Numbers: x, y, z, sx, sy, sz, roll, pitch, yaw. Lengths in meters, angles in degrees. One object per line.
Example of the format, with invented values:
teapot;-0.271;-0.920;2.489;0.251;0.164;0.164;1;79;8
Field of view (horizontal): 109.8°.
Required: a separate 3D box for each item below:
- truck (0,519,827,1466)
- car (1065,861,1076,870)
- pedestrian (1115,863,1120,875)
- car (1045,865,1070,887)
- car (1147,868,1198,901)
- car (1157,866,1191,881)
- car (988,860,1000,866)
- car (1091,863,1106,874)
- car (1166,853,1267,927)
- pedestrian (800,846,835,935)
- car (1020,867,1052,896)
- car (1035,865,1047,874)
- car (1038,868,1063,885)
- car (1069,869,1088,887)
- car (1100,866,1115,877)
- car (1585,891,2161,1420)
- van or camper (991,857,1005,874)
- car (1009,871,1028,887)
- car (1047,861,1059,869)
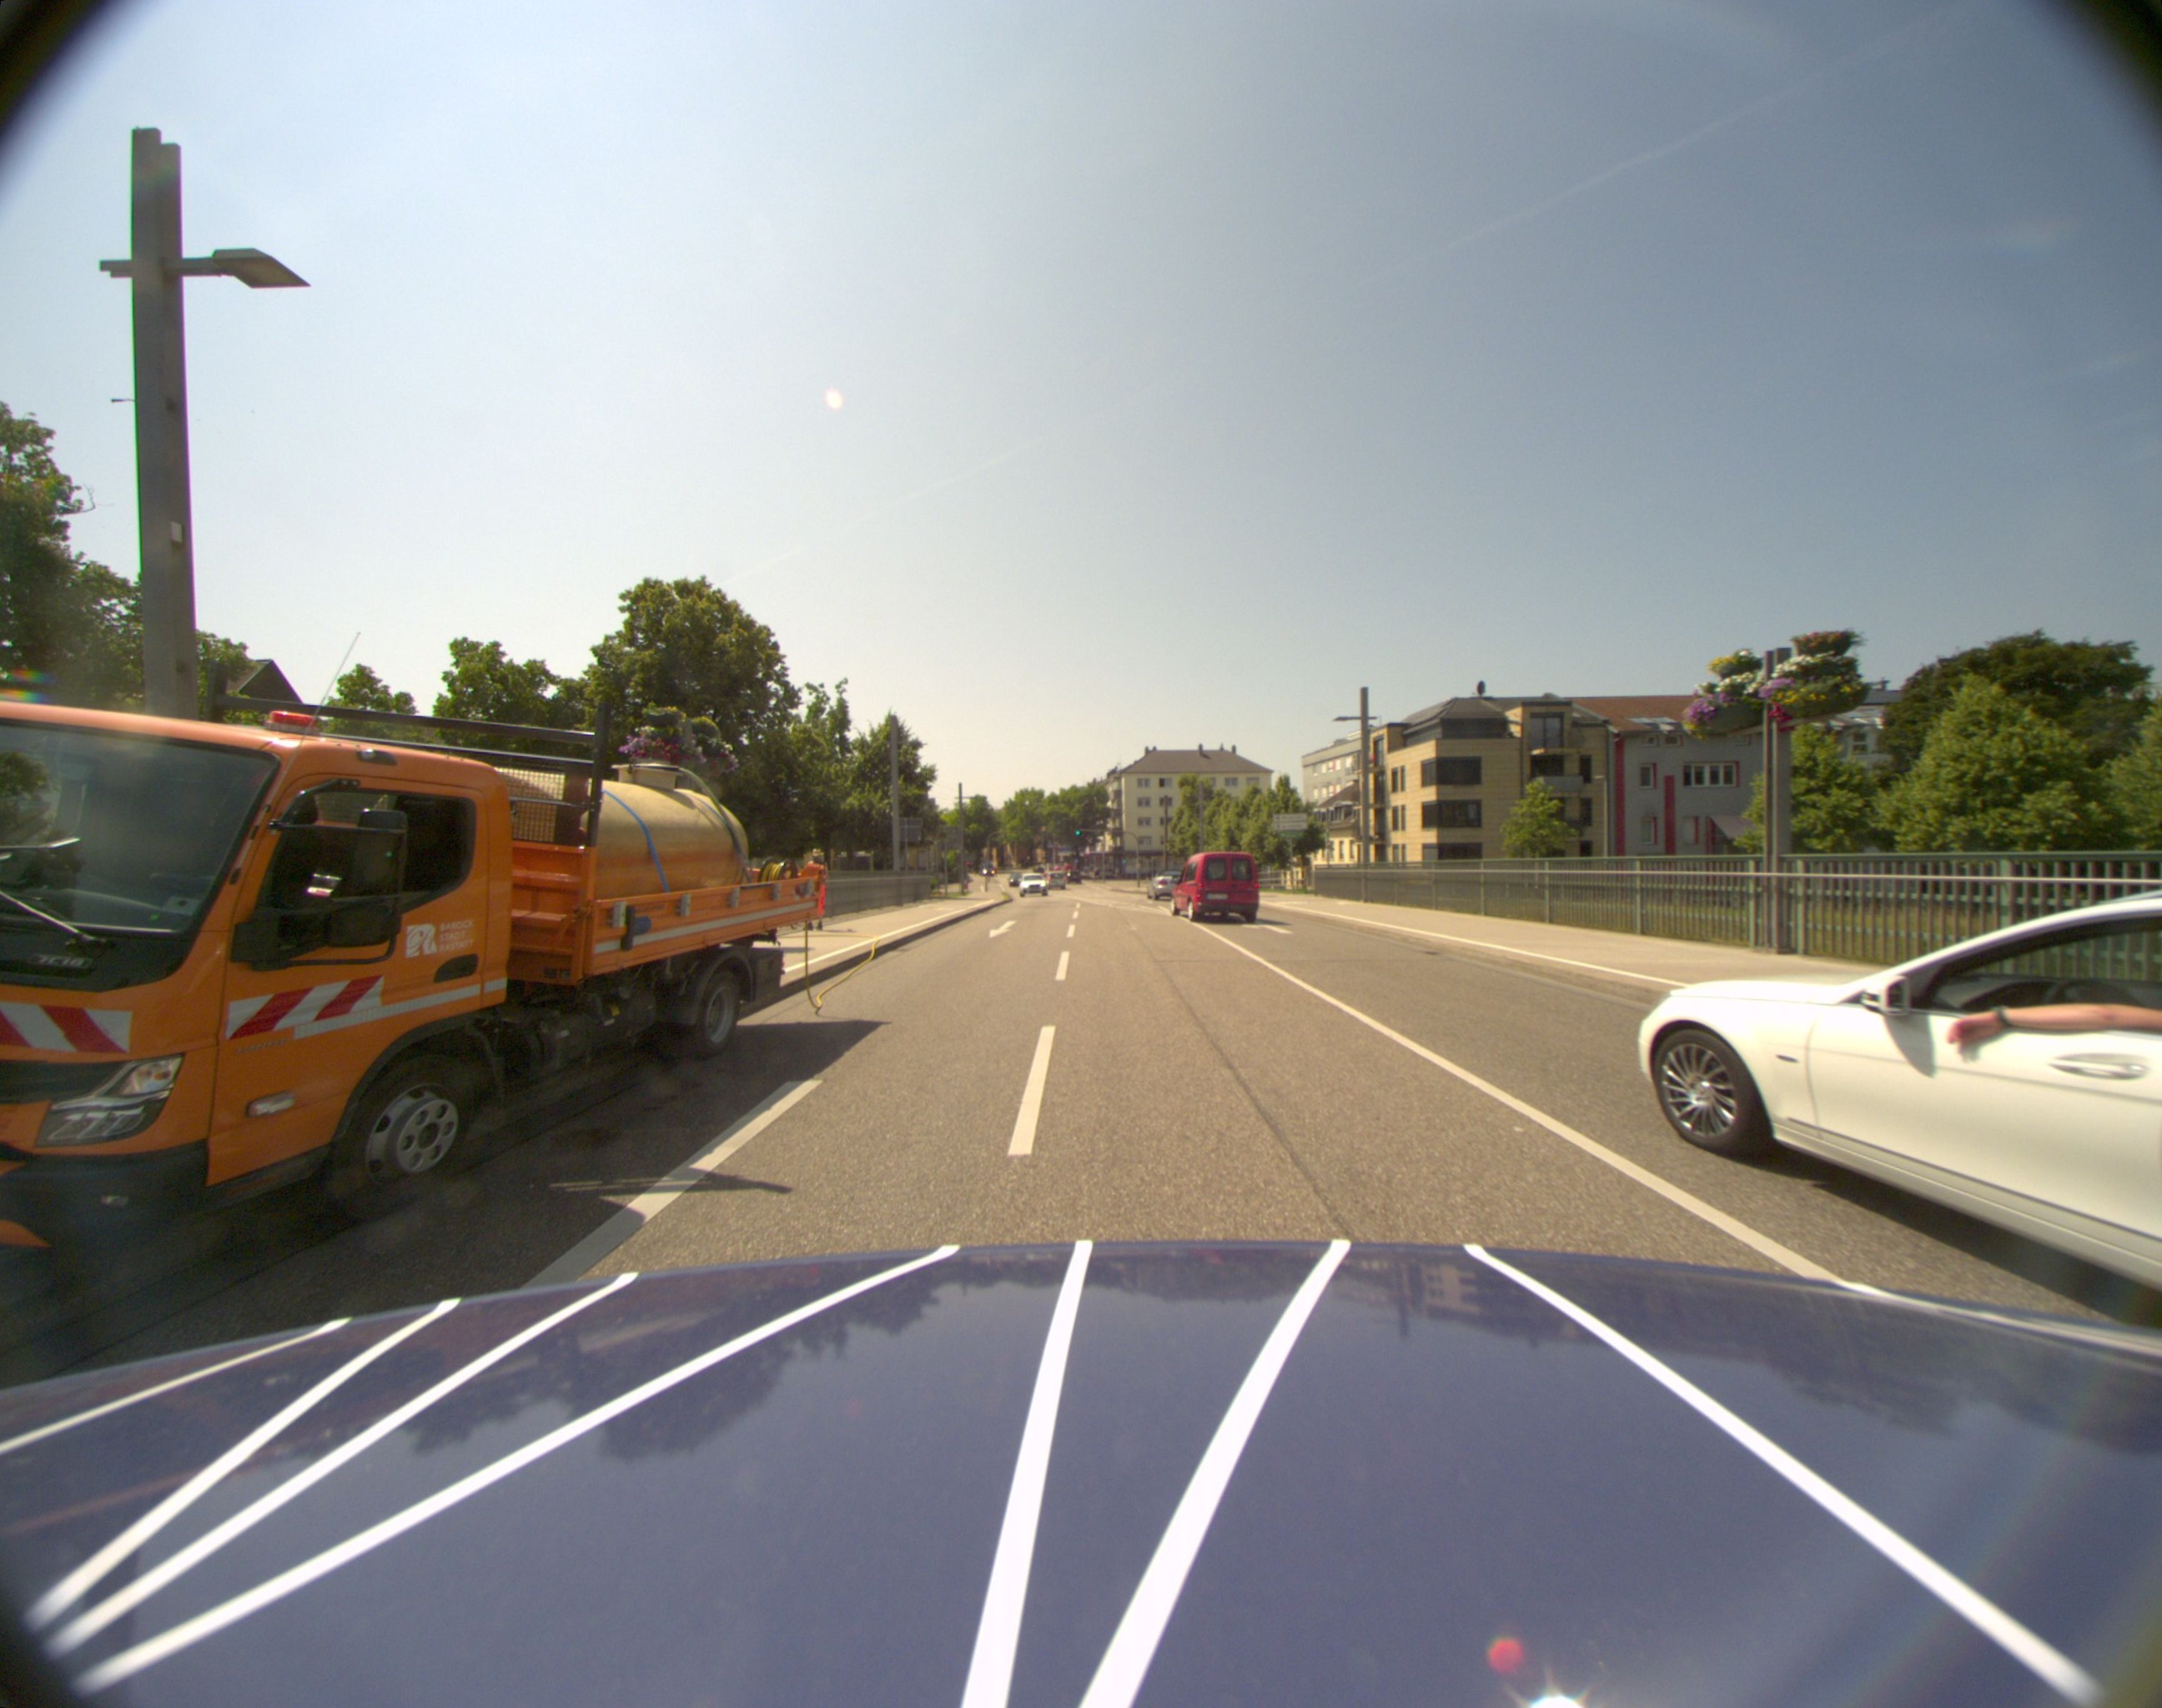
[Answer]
truck;-4.040;0.422;5.071;2.612;2.675;5.823;-1;0;1
car;-2.005;2.147;139.130;1.640;1.459;3.631;-1;1;-7
pedestrian;5.590;2.316;117.709;0.629;1.749;0.742;-1;1;-8
car;-2.385;2.196;76.466;1.843;1.849;4.659;-5;1;-8
car;4.014;1.322;33.913;1.703;1.350;4.457;1;-1;0
car;11.453;2.387;93.352;3.698;1.725;1.892;1;1;-9
car;-21.076;2.200;183.785;1.844;1.390;4.044;-1;-2;-21
car;2.841;2.247;121.615;1.627;1.560;4.835;-1;1;-8
car;3.497;0.890;20.352;1.741;1.766;4.176;0;-1;-3
pedestrian;-5.856;0.793;16.918;0.548;1.948;0.672;-1;1;-6
car;-3.277;1.914;54.308;2.000;1.740;4.442;-3;1;-6
car;-6.888;2.651;130.978;1.719;1.477;4.028;-3;1;-7
car;-3.322;2.468;83.145;1.654;1.456;3.852;1;4;-19
car;-0.304;2.809;89.313;1.742;1.632;3.917;4;3;-5
car;3.987;2.593;113.754;1.587;1.450;3.936;-1;1;-8
car;3.986;0.913;2.272;1.849;1.423;4.715;2;-1;1
van or camper;-14.376;1.955;131.080;2.165;2.567;5.840;-2;1;-8
car;-7.137;2.803;86.791;1.777;1.480;3.995;-3;2;-9
car;-5.900;2.244;159.755;1.914;1.511;4.330;-1;0;-11
